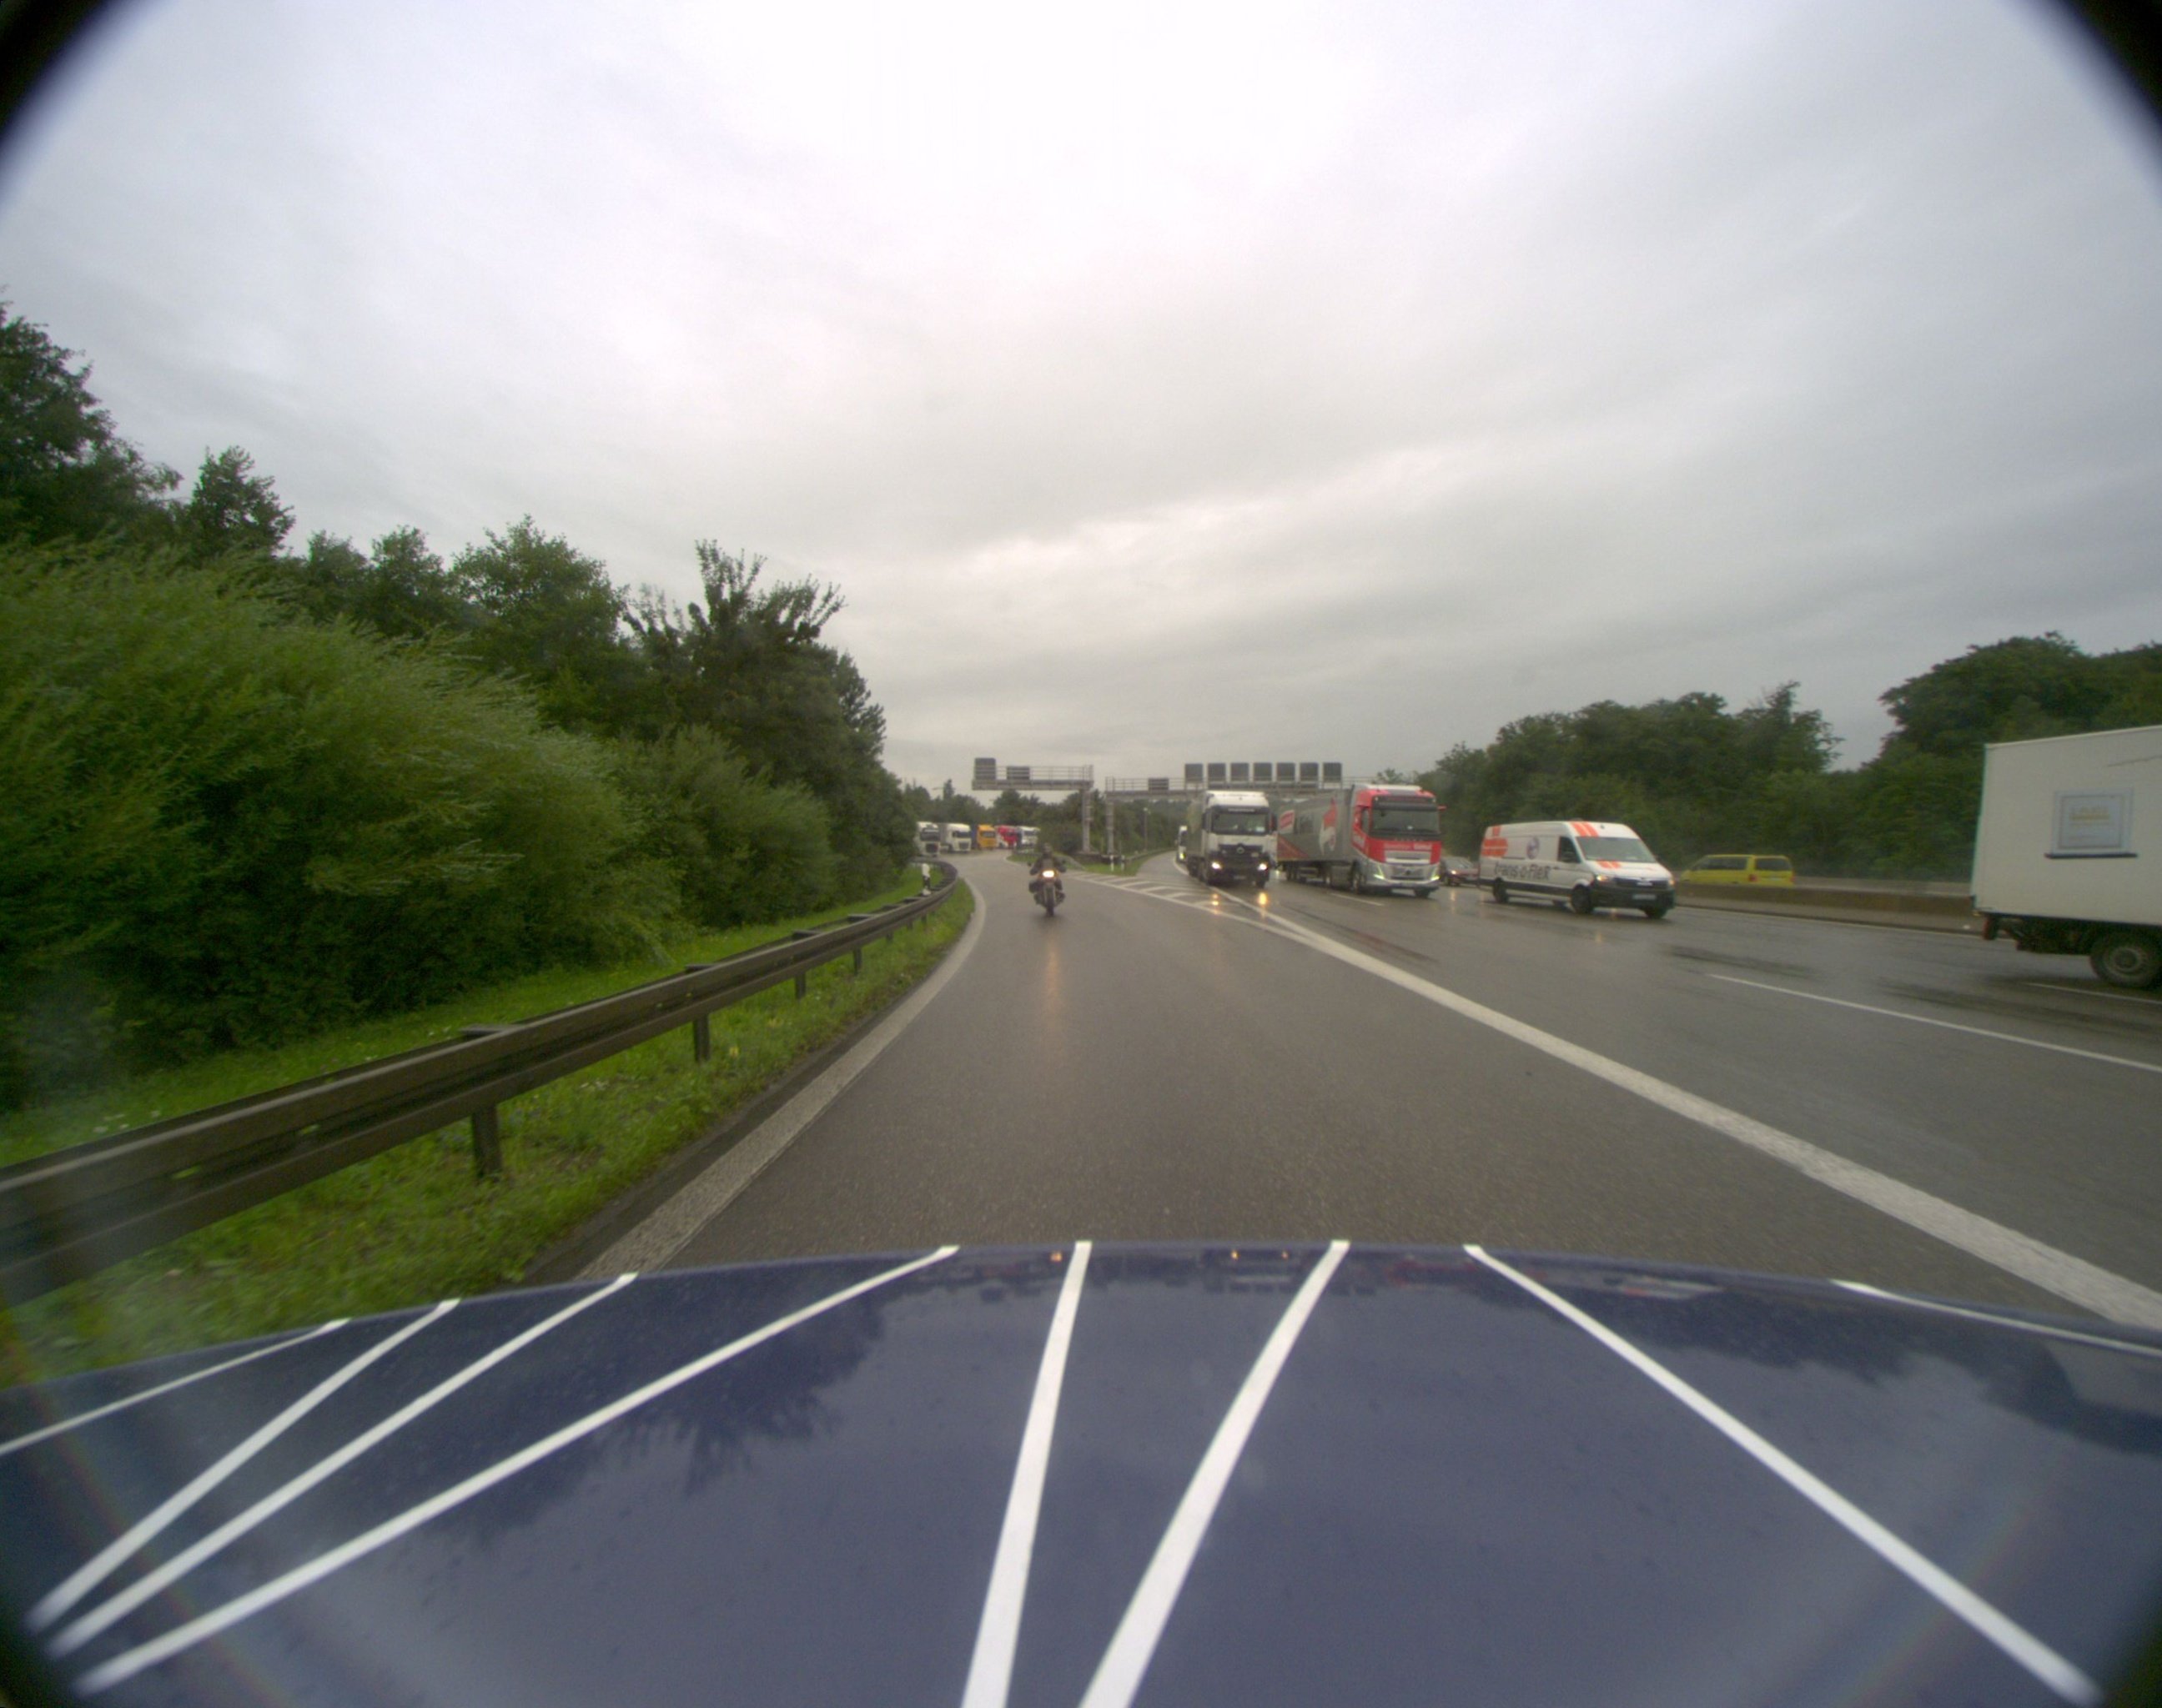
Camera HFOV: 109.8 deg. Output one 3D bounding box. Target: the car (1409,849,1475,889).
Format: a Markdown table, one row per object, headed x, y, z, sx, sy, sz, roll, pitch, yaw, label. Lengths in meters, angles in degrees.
| x | y | z | sx | sy | sz | roll | pitch | yaw | label |
| --- | --- | --- | --- | --- | --- | --- | --- | --- | --- |
| 18.527 | 0.740 | 39.191 | 1.754 | 1.762 | 4.000 | -3 | 2 | 5 | car |

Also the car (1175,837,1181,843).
| x | y | z | sx | sy | sz | roll | pitch | yaw | label |
| --- | --- | --- | --- | --- | --- | --- | --- | --- | --- |
| 29.512 | -4.218 | 230.796 | 1.817 | 1.747 | 4.687 | 0 | 1 | 7 | car |

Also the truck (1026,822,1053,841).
| x | y | z | sx | sy | sz | roll | pitch | yaw | label |
| --- | --- | --- | --- | --- | --- | --- | --- | --- | --- |
| -9.678 | -5.159 | 176.100 | 3.252 | 4.362 | 5.796 | -2 | 3 | -41 | truck |

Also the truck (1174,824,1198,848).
| x | y | z | sx | sy | sz | roll | pitch | yaw | label |
| --- | --- | --- | --- | --- | --- | --- | --- | --- | --- |
| 18.285 | -3.272 | 132.759 | 3.535 | 3.826 | 9.436 | -3 | 2 | 6 | truck |

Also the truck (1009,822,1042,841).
| x | y | z | sx | sy | sz | roll | pitch | yaw | label |
| --- | --- | --- | --- | --- | --- | --- | --- | --- | --- |
| -12.291 | -5.068 | 167.479 | 3.252 | 4.069 | 7.914 | -1 | 3 | -41 | truck |

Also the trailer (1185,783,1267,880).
| x | y | z | sx | sy | sz | roll | pitch | yaw | label |
| --- | --- | --- | --- | --- | --- | --- | --- | --- | --- |
| 7.170 | -1.142 | 39.521 | 2.924 | 4.181 | 13.638 | 1 | 2 | 6 | trailer |

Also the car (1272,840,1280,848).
| x | y | z | sx | sy | sz | roll | pitch | yaw | label |
| --- | --- | --- | --- | --- | --- | --- | --- | --- | --- |
| 54.004 | -2.813 | 210.533 | 1.997 | 2.002 | 4.578 | -1 | 1 | 12 | car |

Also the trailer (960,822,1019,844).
| x | y | z | sx | sy | sz | roll | pitch | yaw | label |
| --- | --- | --- | --- | --- | --- | --- | --- | --- | --- |
| -17.452 | -4.060 | 143.470 | 3.252 | 3.898 | 14.785 | -1 | 3 | -41 | trailer |

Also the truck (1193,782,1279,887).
| x | y | z | sx | sy | sz | roll | pitch | yaw | label |
| --- | --- | --- | --- | --- | --- | --- | --- | --- | --- |
| 6.579 | -0.856 | 33.207 | 2.924 | 4.076 | 6.720 | 1 | 2 | 6 | truck |

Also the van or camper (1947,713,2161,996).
| x | y | z | sx | sy | sz | roll | pitch | yaw | label |
| --- | --- | --- | --- | --- | --- | --- | --- | --- | --- |
| 13.413 | 0.043 | 7.150 | 2.585 | 3.186 | 7.131 | 1 | 1 | 4 | van or camper |

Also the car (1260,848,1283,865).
| x | y | z | sx | sy | sz | roll | pitch | yaw | label |
| --- | --- | --- | --- | --- | --- | --- | --- | --- | --- |
| 19.548 | 0.235 | 78.179 | 1.997 | 1.660 | 4.185 | -1 | 1 | 10 | car |

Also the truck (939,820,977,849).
| x | y | z | sx | sy | sz | roll | pitch | yaw | label |
| --- | --- | --- | --- | --- | --- | --- | --- | --- | --- |
| -17.226 | -2.753 | 106.289 | 2.836 | 3.891 | 5.395 | -1 | 3 | -39 | truck |

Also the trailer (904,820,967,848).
| x | y | z | sx | sy | sz | roll | pitch | yaw | label |
| --- | --- | --- | --- | --- | --- | --- | --- | --- | --- |
| -21.612 | -3.066 | 111.806 | 2.850 | 3.898 | 13.912 | -1 | 3 | -39 | trailer |

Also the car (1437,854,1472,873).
| x | y | z | sx | sy | sz | roll | pitch | yaw | label |
| --- | --- | --- | --- | --- | --- | --- | --- | --- | --- |
| 37.025 | 0.909 | 75.439 | 1.997 | 1.805 | 4.107 | -1 | 1 | 8 | car |

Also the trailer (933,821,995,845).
| x | y | z | sx | sy | sz | roll | pitch | yaw | label |
| --- | --- | --- | --- | --- | --- | --- | --- | --- | --- |
| -20.243 | -3.664 | 130.095 | 2.874 | 3.898 | 16.584 | -1 | 3 | -37 | trailer |

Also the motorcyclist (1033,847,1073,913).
| x | y | z | sx | sy | sz | roll | pitch | yaw | label |
| --- | --- | --- | --- | --- | --- | --- | --- | --- | --- |
| -0.705 | 0.613 | 18.630 | 0.878 | 1.559 | 1.372 | 1 | 1 | -6 | motorcyclist |

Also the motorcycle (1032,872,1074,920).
| x | y | z | sx | sy | sz | roll | pitch | yaw | label |
| --- | --- | --- | --- | --- | --- | --- | --- | --- | --- |
| -0.729 | 1.009 | 18.788 | 0.878 | 1.016 | 2.351 | 1 | 1 | -6 | motorcycle |

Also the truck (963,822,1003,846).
| x | y | z | sx | sy | sz | roll | pitch | yaw | label |
| --- | --- | --- | --- | --- | --- | --- | --- | --- | --- |
| -16.204 | -3.319 | 124.802 | 2.846 | 3.898 | 8.106 | -1 | 3 | -37 | truck |

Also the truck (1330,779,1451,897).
| x | y | z | sx | sy | sz | roll | pitch | yaw | label |
| --- | --- | --- | --- | --- | --- | --- | --- | --- | --- |
| 10.910 | -0.572 | 27.218 | 2.632 | 3.842 | 4.589 | 1 | 1 | 4 | truck |

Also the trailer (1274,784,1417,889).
| x | y | z | sx | sy | sz | roll | pitch | yaw | label |
| --- | --- | --- | --- | --- | --- | --- | --- | --- | --- |
| 11.470 | -0.758 | 34.822 | 2.632 | 3.842 | 13.678 | 1 | 1 | 4 | trailer |

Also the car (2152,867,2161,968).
| x | y | z | sx | sy | sz | roll | pitch | yaw | label |
| --- | --- | --- | --- | --- | --- | --- | --- | --- | --- |
| 16.880 | 1.004 | 9.242 | 1.618 | 1.514 | 4.415 | 1 | 1 | 5 | car |

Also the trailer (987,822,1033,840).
| x | y | z | sx | sy | sz | roll | pitch | yaw | label |
| --- | --- | --- | --- | --- | --- | --- | --- | --- | --- |
| -16.230 | -5.262 | 172.026 | 3.252 | 4.069 | 13.491 | -1 | 3 | -41 | trailer |

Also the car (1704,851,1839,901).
| x | y | z | sx | sy | sz | roll | pitch | yaw | label |
| --- | --- | --- | --- | --- | --- | --- | --- | --- | --- |
| 30.876 | 0.912 | 34.204 | 1.998 | 2.002 | 4.738 | -1 | 1 | 4 | car |

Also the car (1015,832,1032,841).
| x | y | z | sx | sy | sz | roll | pitch | yaw | label |
| --- | --- | --- | --- | --- | --- | --- | --- | --- | --- |
| -12.215 | -3.646 | 161.196 | 1.852 | 1.848 | 3.988 | -2 | 3 | -39 | car |

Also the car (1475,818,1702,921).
| x | y | z | sx | sy | sz | roll | pitch | yaw | label |
| --- | --- | --- | --- | --- | --- | --- | --- | --- | --- |
| 14.218 | 0.303 | 22.138 | 2.153 | 2.474 | 7.366 | 1 | 1 | 5 | car |

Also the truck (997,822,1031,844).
| x | y | z | sx | sy | sz | roll | pitch | yaw | label |
| --- | --- | --- | --- | --- | --- | --- | --- | --- | --- |
| -12.679 | -4.010 | 143.320 | 2.905 | 3.898 | 6.536 | -1 | 3 | -41 | truck |

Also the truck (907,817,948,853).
| x | y | z | sx | sy | sz | roll | pitch | yaw | label |
| --- | --- | --- | --- | --- | --- | --- | --- | --- | --- |
| -18.416 | -2.313 | 90.981 | 2.832 | 4.123 | 5.287 | -1 | 3 | -38 | truck |

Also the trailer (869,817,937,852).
| x | y | z | sx | sy | sz | roll | pitch | yaw | label |
| --- | --- | --- | --- | --- | --- | --- | --- | --- | --- |
| -22.873 | -2.611 | 96.675 | 2.832 | 4.148 | 13.952 | -1 | 3 | -38 | trailer |

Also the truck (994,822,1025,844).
| x | y | z | sx | sy | sz | roll | pitch | yaw | label |
| --- | --- | --- | --- | --- | --- | --- | --- | --- | --- |
| -13.042 | -3.789 | 138.390 | 3.252 | 3.898 | 5.006 | -1 | 3 | -41 | truck |

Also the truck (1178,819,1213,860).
| x | y | z | sx | sy | sz | roll | pitch | yaw | label |
| --- | --- | --- | --- | --- | --- | --- | --- | --- | --- |
| 12.636 | -1.767 | 85.107 | 3.353 | 4.048 | 12.574 | -2 | 2 | 7 | truck |

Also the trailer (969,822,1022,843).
| x | y | z | sx | sy | sz | roll | pitch | yaw | label |
| --- | --- | --- | --- | --- | --- | --- | --- | --- | --- |
| -16.885 | -4.290 | 148.154 | 2.882 | 3.898 | 13.893 | -1 | 3 | -41 | trailer |
